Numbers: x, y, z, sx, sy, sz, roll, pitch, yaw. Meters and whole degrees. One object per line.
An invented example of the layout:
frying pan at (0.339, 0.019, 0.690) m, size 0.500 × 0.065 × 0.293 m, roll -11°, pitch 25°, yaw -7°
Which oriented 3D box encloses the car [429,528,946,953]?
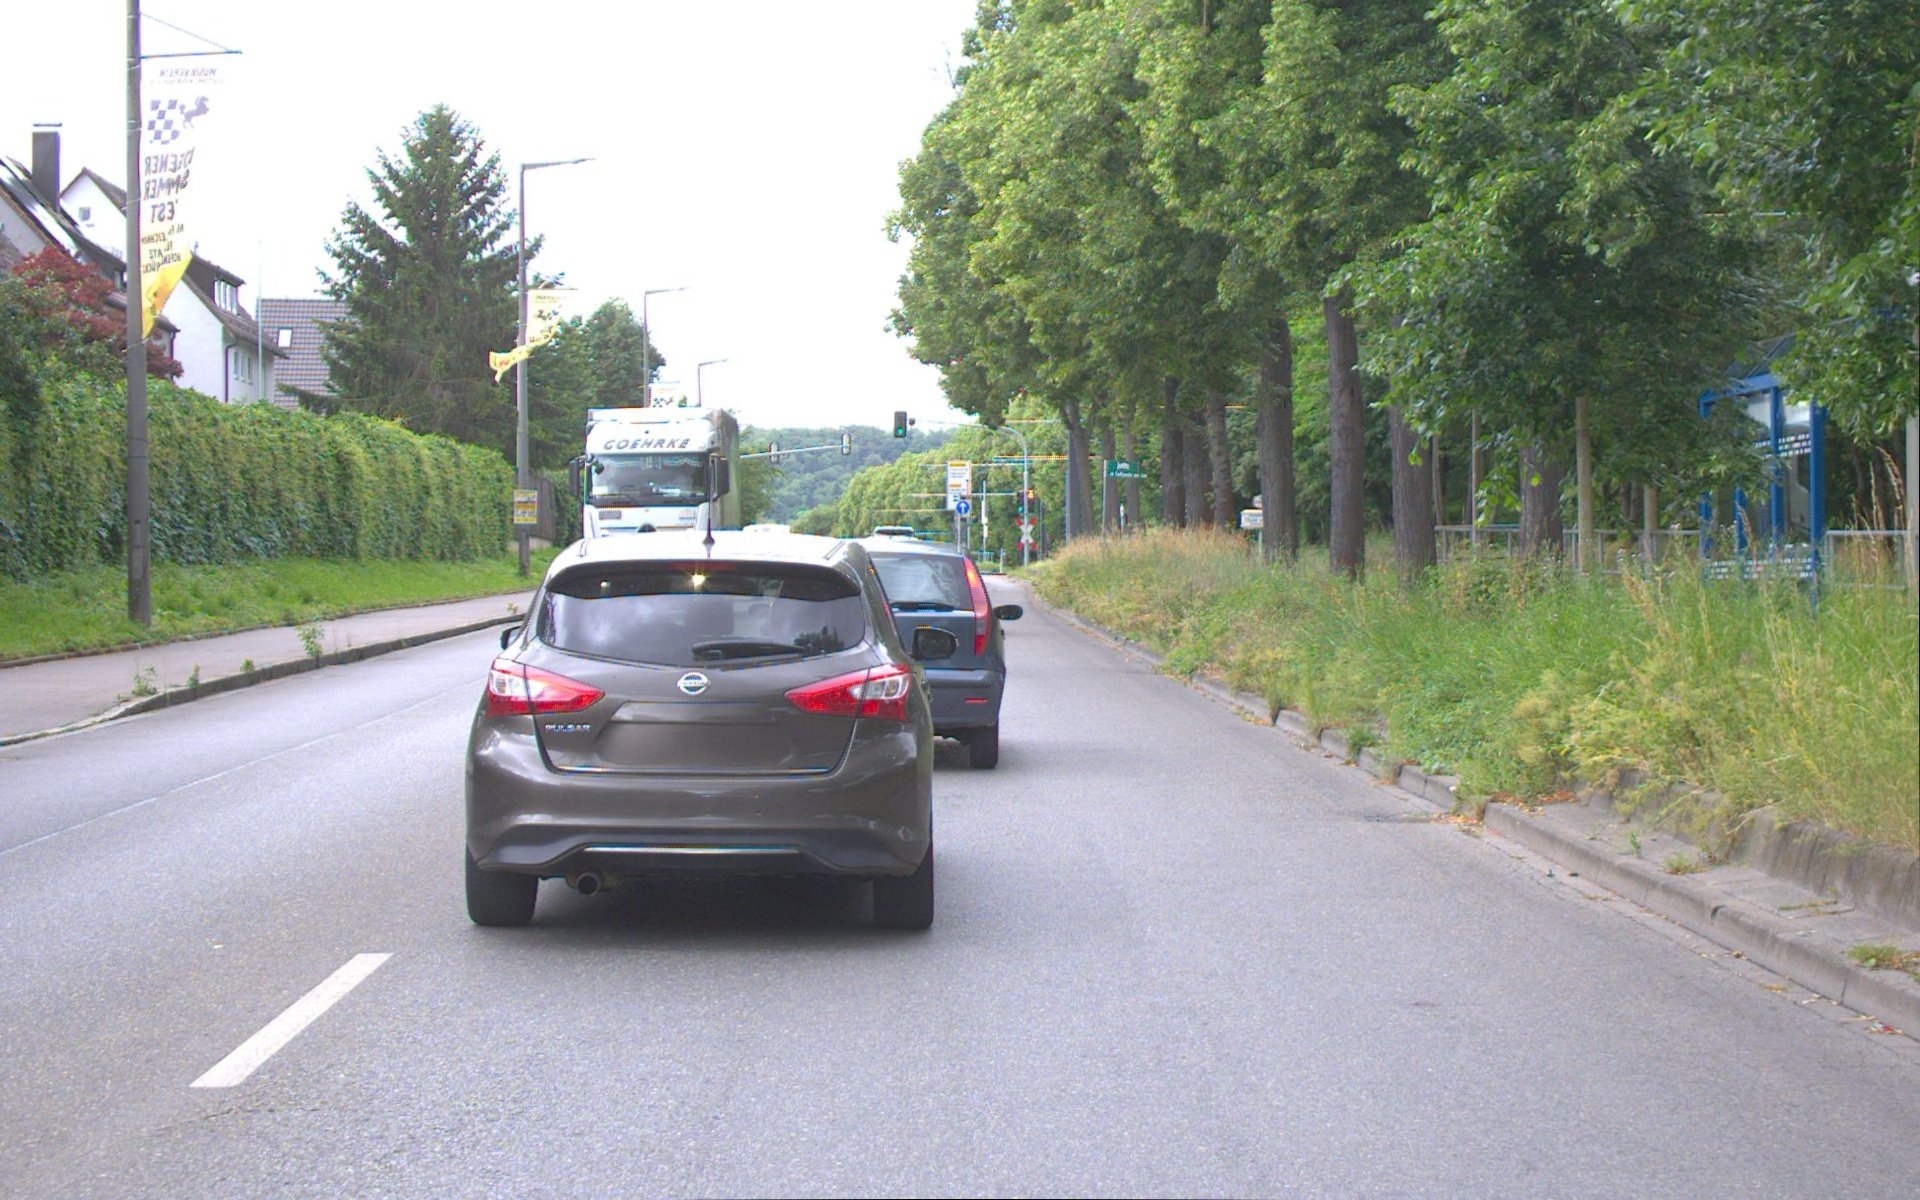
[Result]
car at (-0.999, 0.457, 14.482) m, size 1.835 × 1.514 × 4.483 m, roll 0°, pitch 1°, yaw -1°

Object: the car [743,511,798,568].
car at (-6.751, -2.169, 122.466) m, size 1.906 × 1.925 × 4.912 m, roll -1°, pitch 2°, yaw -3°

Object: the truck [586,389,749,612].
truck at (-5.733, -1.891, 68.843) m, size 2.549 × 4.030 × 10.621 m, roll -2°, pitch 1°, yaw -2°

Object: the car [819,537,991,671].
car at (-0.602, 0.007, 37.969) m, size 1.792 × 1.392 × 4.000 m, roll 0°, pitch 1°, yaw -1°

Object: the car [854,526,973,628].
car at (-0.720, -0.386, 53.530) m, size 1.792 × 1.533 × 4.000 m, roll 0°, pitch 1°, yaw -1°

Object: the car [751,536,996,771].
car at (-0.570, 0.305, 23.532) m, size 1.538 × 1.473 × 3.764 m, roll 0°, pitch 1°, yaw -1°

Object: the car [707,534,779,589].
car at (-5.697, -1.019, 90.519) m, size 1.732 × 1.370 × 4.240 m, roll -1°, pitch 1°, yaw -2°
